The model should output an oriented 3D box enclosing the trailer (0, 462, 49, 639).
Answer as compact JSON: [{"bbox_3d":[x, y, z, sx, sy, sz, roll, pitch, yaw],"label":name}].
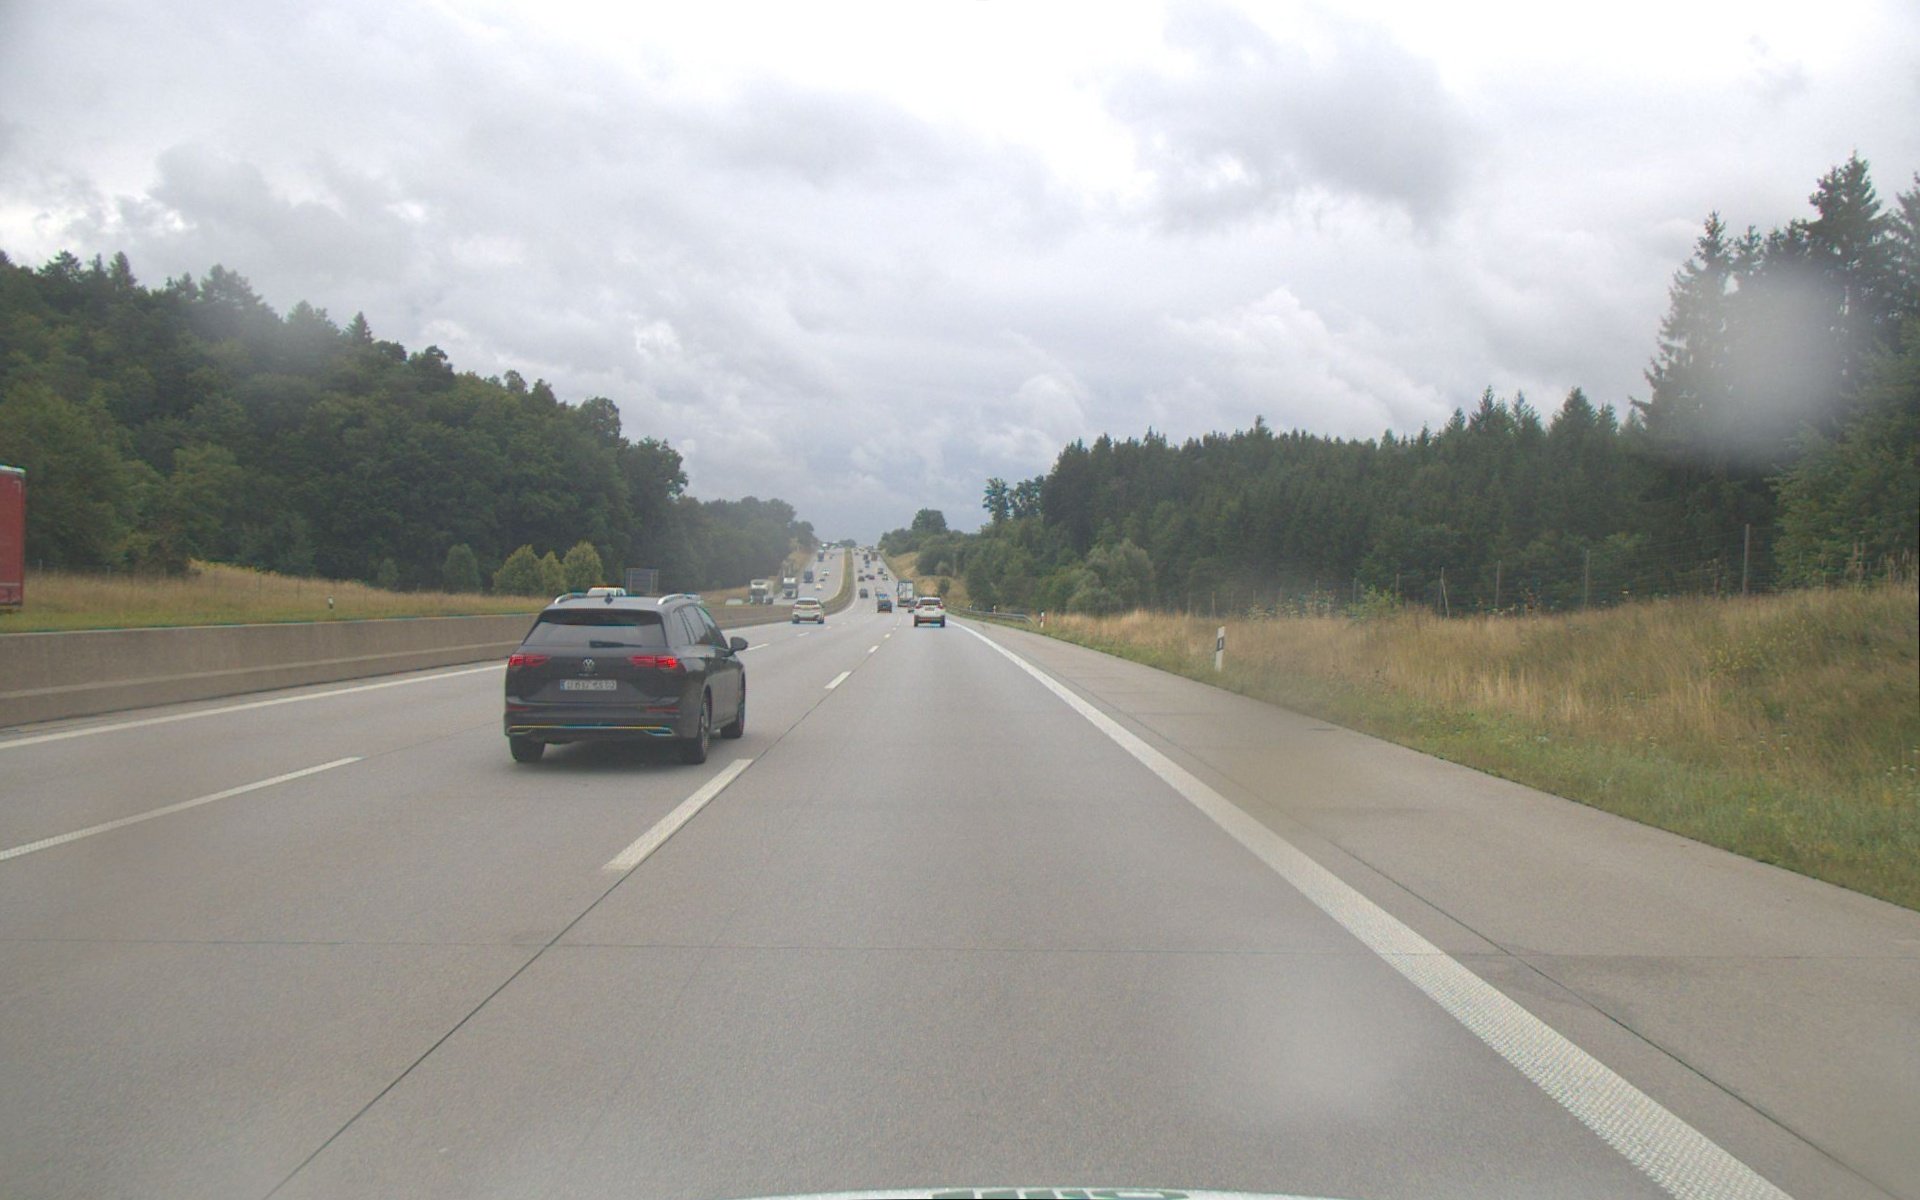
[{"bbox_3d":[-22.956,-1.107,32.364,2.555,4.013,14.375,1,0,-1],"label":"trailer"}]

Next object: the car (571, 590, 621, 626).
[{"bbox_3d":[-20.621,0.421,93.917,1.954,1.990,5.622,1,0,-4],"label":"car"}]

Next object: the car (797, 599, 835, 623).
[{"bbox_3d":[-8.844,0.643,101.828,1.908,1.379,4.259,1,0,0],"label":"car"}]

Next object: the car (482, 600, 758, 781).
[{"bbox_3d":[-3.044,0.737,15.711,1.717,1.422,4.483,1,0,-1],"label":"car"}]

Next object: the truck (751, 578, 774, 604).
[{"bbox_3d":[-30.769,-1.331,258.061,2.756,3.839,11.345,1,0,-2],"label":"truck"}]

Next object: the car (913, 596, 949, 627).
[{"bbox_3d":[-1.684,0.633,94.738,1.790,1.684,3.980,2,0,-5],"label":"car"}]
